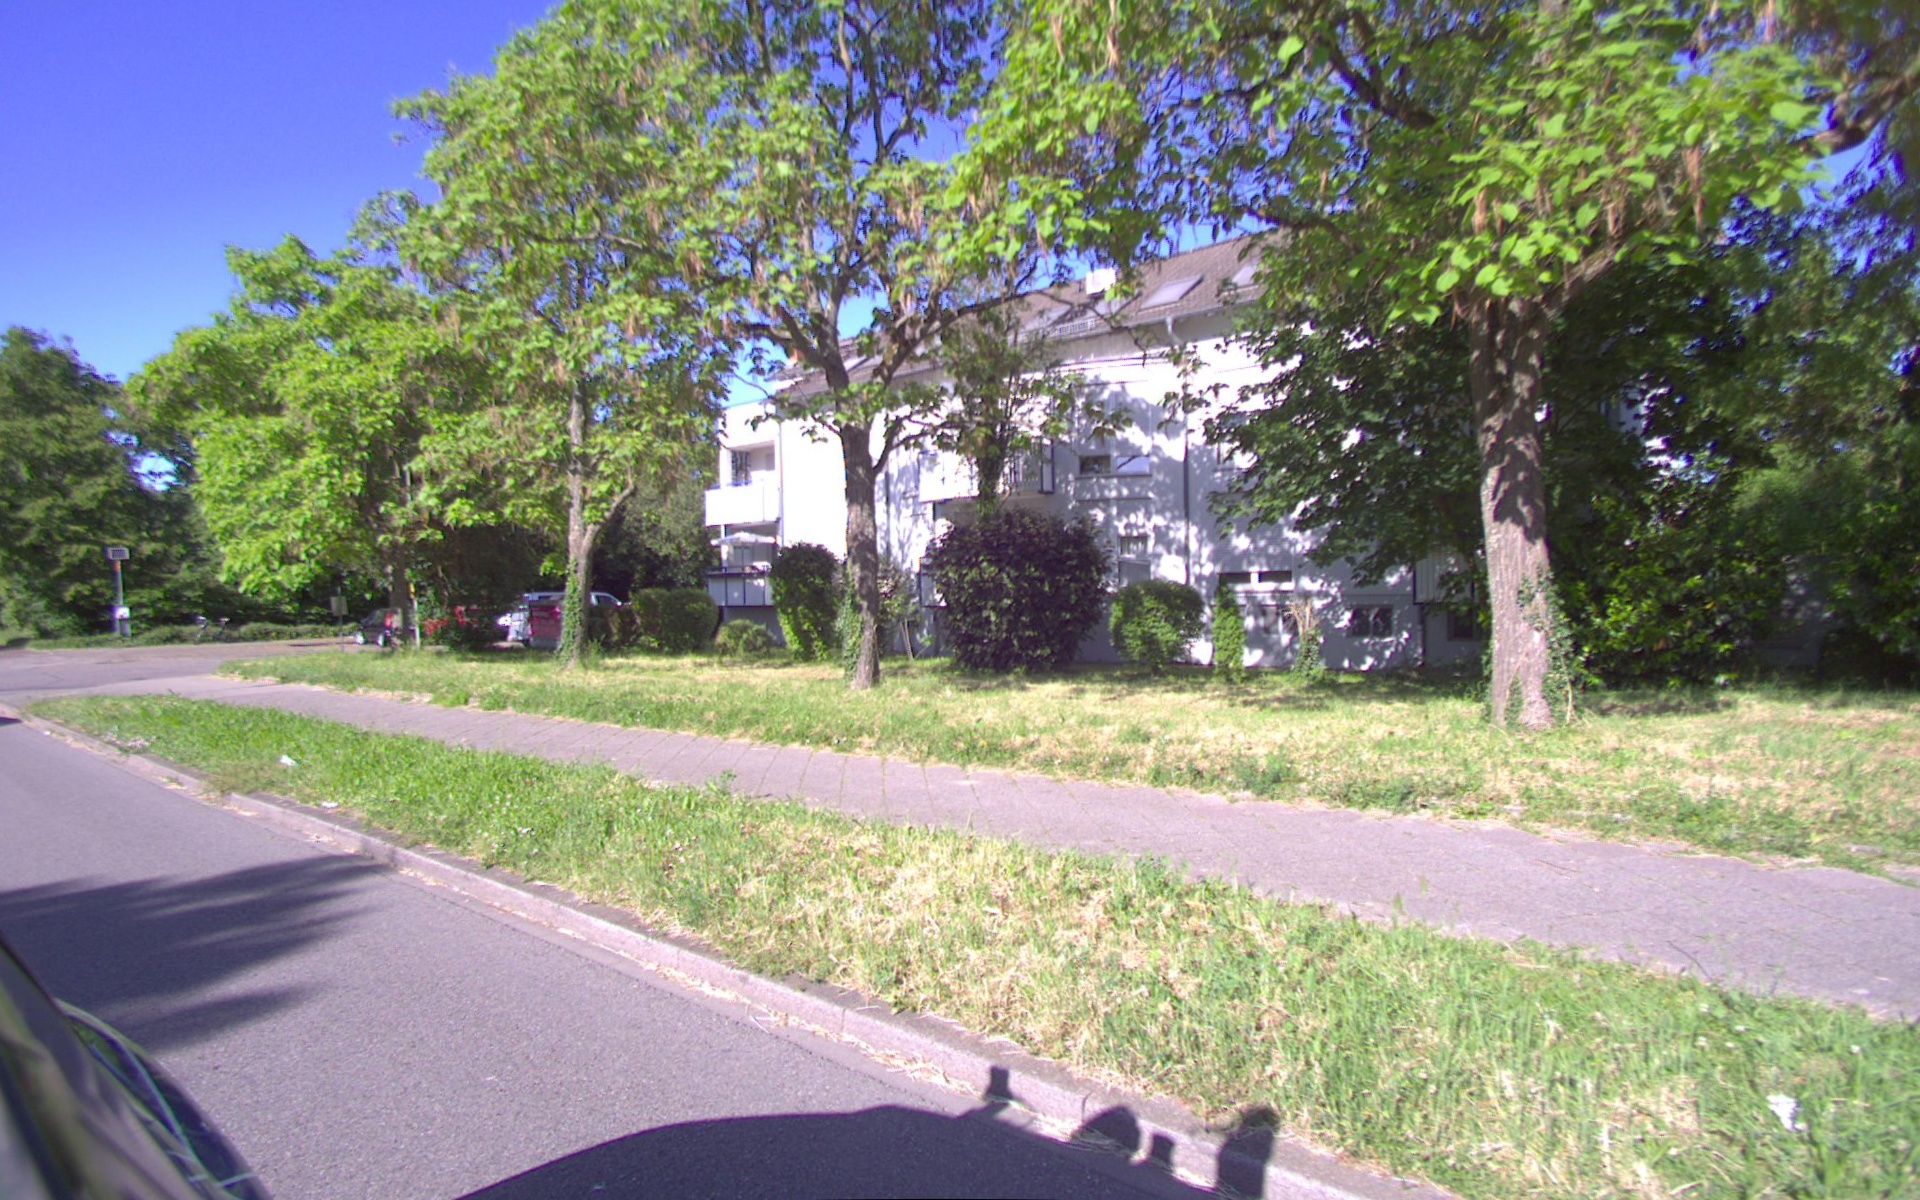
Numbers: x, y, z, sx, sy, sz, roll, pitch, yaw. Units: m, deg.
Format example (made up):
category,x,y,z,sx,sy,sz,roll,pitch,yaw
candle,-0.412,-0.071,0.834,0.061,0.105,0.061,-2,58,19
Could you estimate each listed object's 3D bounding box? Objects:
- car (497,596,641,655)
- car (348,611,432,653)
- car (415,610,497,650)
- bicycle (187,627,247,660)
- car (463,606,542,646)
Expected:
category,x,y,z,sx,sy,sz,roll,pitch,yaw
car,-14.171,0.883,36.813,2.069,1.984,4.403,-3,-1,43
car,-22.796,1.232,40.424,3.882,1.498,1.653,1,1,40
car,-21.133,1.211,42.401,3.882,1.498,1.653,1,1,40
bicycle,-29.429,1.705,40.097,1.875,1.161,0.762,-1,3,-40
car,-20.206,1.107,44.668,3.882,1.615,1.653,1,1,40
